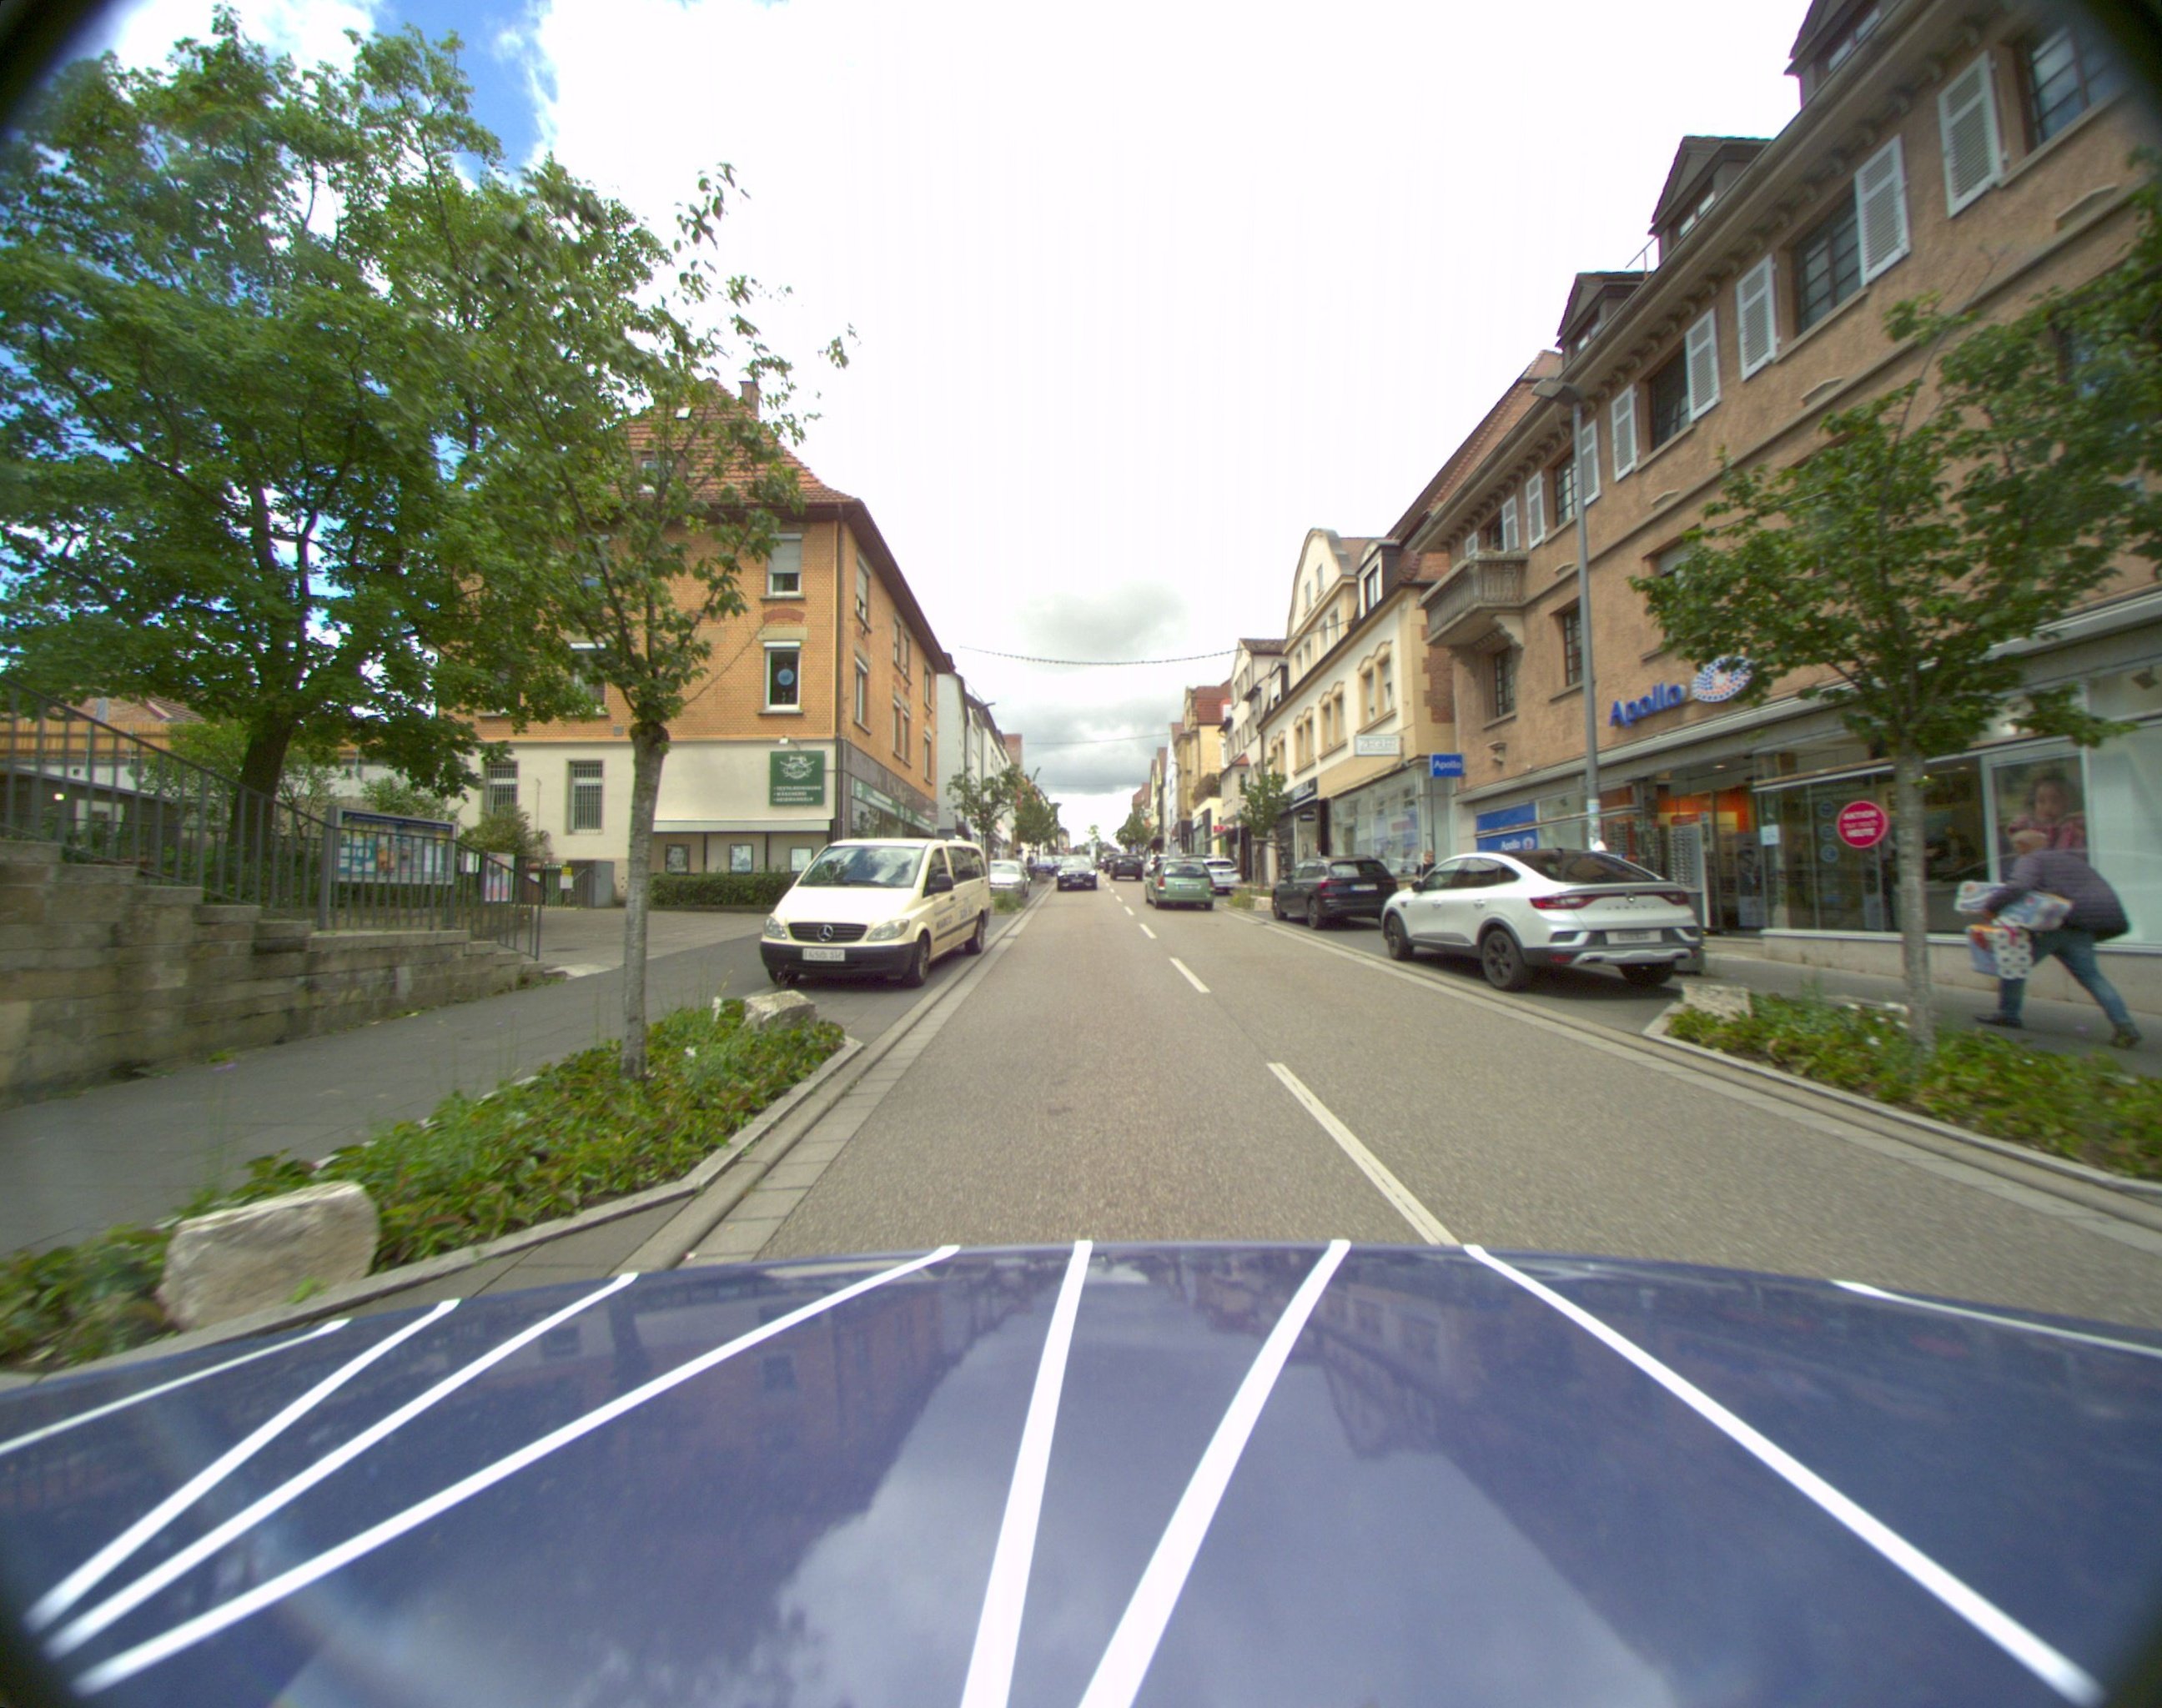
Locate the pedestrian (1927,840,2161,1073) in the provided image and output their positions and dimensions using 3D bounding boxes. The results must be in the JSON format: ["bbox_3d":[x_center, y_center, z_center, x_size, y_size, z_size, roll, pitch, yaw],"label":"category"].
[{"bbox_3d":[7.516,0.732,5.903,0.872,1.656,0.906,-1,1,-1],"label":"pedestrian"}]

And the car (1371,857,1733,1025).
[{"bbox_3d":[5.416,0.848,9.583,1.730,1.564,4.454,-1,0,-1],"label":"car"}]

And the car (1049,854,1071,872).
[{"bbox_3d":[-1.779,0.730,65.549,1.774,1.515,3.529,0,0,1],"label":"car"}]

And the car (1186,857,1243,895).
[{"bbox_3d":[5.328,0.840,30.689,1.732,1.423,3.503,-1,0,1],"label":"car"}]

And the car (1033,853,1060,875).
[{"bbox_3d":[-2.470,0.689,55.440,1.774,1.515,3.529,0,0,1],"label":"car"}]

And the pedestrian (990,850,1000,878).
[{"bbox_3d":[-4.865,0.562,43.006,0.567,1.531,0.525,2,1,-7],"label":"pedestrian"}]

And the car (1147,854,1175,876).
[{"bbox_3d":[5.787,0.788,55.424,1.690,1.515,3.529,0,0,1],"label":"car"}]

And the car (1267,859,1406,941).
[{"bbox_3d":[5.556,0.923,17.047,1.668,1.517,3.963,-2,0,-1],"label":"car"}]

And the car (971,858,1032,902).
[{"bbox_3d":[-2.852,0.911,28.154,1.816,1.439,3.945,2,0,0],"label":"car"}]

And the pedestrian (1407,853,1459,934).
[{"bbox_3d":[7.115,0.790,15.377,0.629,1.564,0.650,-4,0,0],"label":"pedestrian"}]

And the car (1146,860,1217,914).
[{"bbox_3d":[3.043,0.953,23.803,1.686,1.492,4.153,0,0,0],"label":"car"}]

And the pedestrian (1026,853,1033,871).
[{"bbox_3d":[-4.516,0.715,66.413,0.549,1.515,0.412,0,1,0],"label":"pedestrian"}]

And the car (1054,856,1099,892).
[{"bbox_3d":[-0.181,0.886,35.208,1.894,1.515,3.735,-2,0,1],"label":"car"}]

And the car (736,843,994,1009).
[{"bbox_3d":[-2.701,0.791,10.974,1.889,1.836,5.032,0,0,5],"label":"car"}]

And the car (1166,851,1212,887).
[{"bbox_3d":[5.345,0.706,38.087,1.732,1.670,3.992,-1,0,1],"label":"car"}]

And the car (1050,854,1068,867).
[{"bbox_3d":[-2.233,0.657,78.898,1.690,1.365,3.529,0,0,1],"label":"car"}]

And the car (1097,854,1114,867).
[{"bbox_3d":[2.672,0.709,83.217,1.690,1.403,3.529,0,0,1],"label":"car"}]

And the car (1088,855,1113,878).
[{"bbox_3d":[1.526,0.940,59.703,1.894,1.670,3.735,1,0,1],"label":"car"}]

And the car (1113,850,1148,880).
[{"bbox_3d":[2.914,0.628,45.736,1.830,1.679,3.859,0,0,0],"label":"car"}]
